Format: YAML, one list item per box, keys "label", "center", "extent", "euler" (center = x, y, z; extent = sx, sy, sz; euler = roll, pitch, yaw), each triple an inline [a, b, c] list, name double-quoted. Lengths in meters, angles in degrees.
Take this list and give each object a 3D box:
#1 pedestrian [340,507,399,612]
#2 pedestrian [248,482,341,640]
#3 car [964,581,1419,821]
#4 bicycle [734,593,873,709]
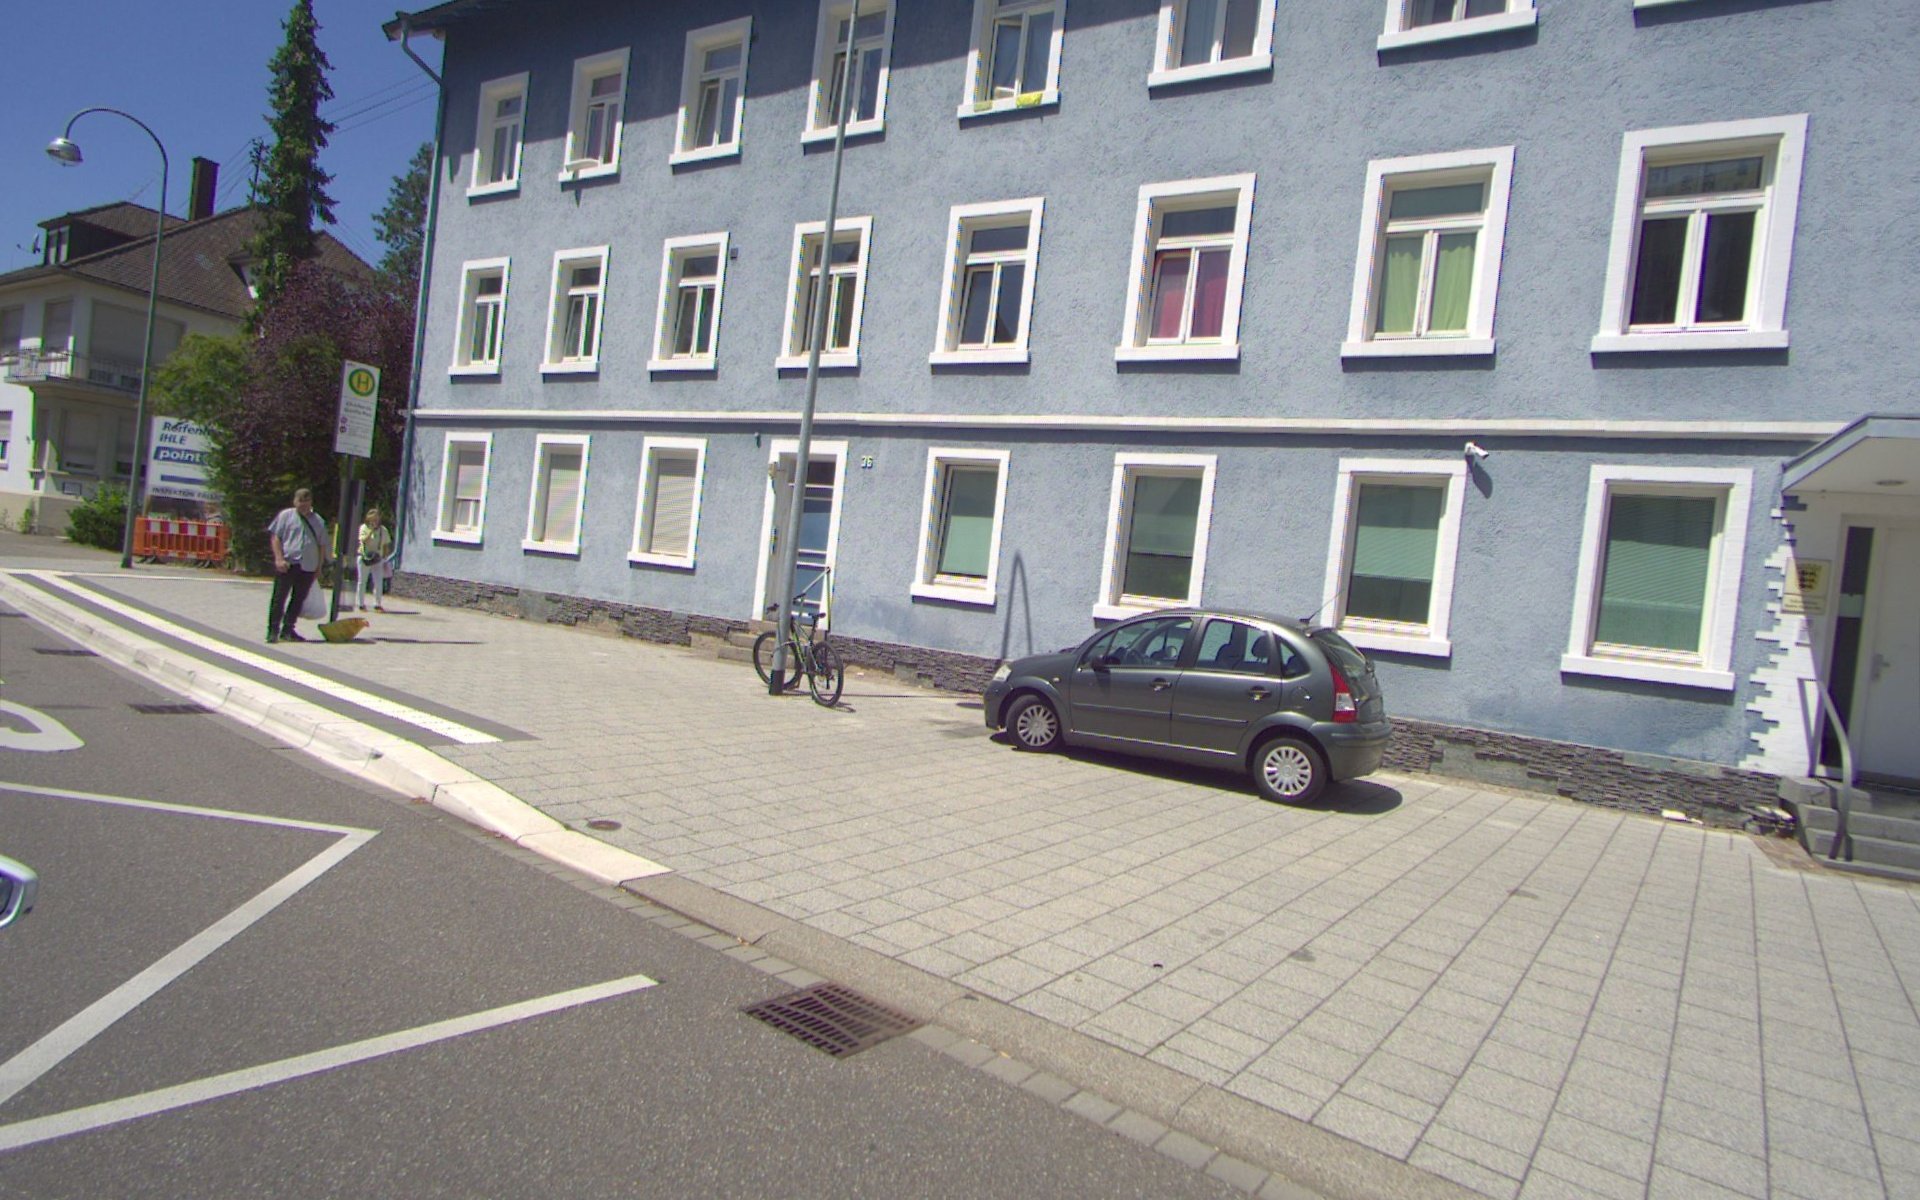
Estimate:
- label: "pedestrian"
  center: [-9.691, -0.662, 16.502]
  extent: [0.611, 1.637, 0.741]
  euler: [3, 3, -42]
- label: "pedestrian"
  center: [-8.102, -0.466, 12.244]
  extent: [0.737, 1.830, 0.614]
  euler: [6, 4, 27]
- label: "car"
  center: [2.110, 0.774, 9.463]
  extent: [3.680, 1.535, 1.757]
  euler: [7, 3, 33]
- label: "bicycle"
  center: [-1.791, 0.533, 11.261]
  extent: [0.628, 1.053, 1.863]
  euler: [3, 3, -39]
